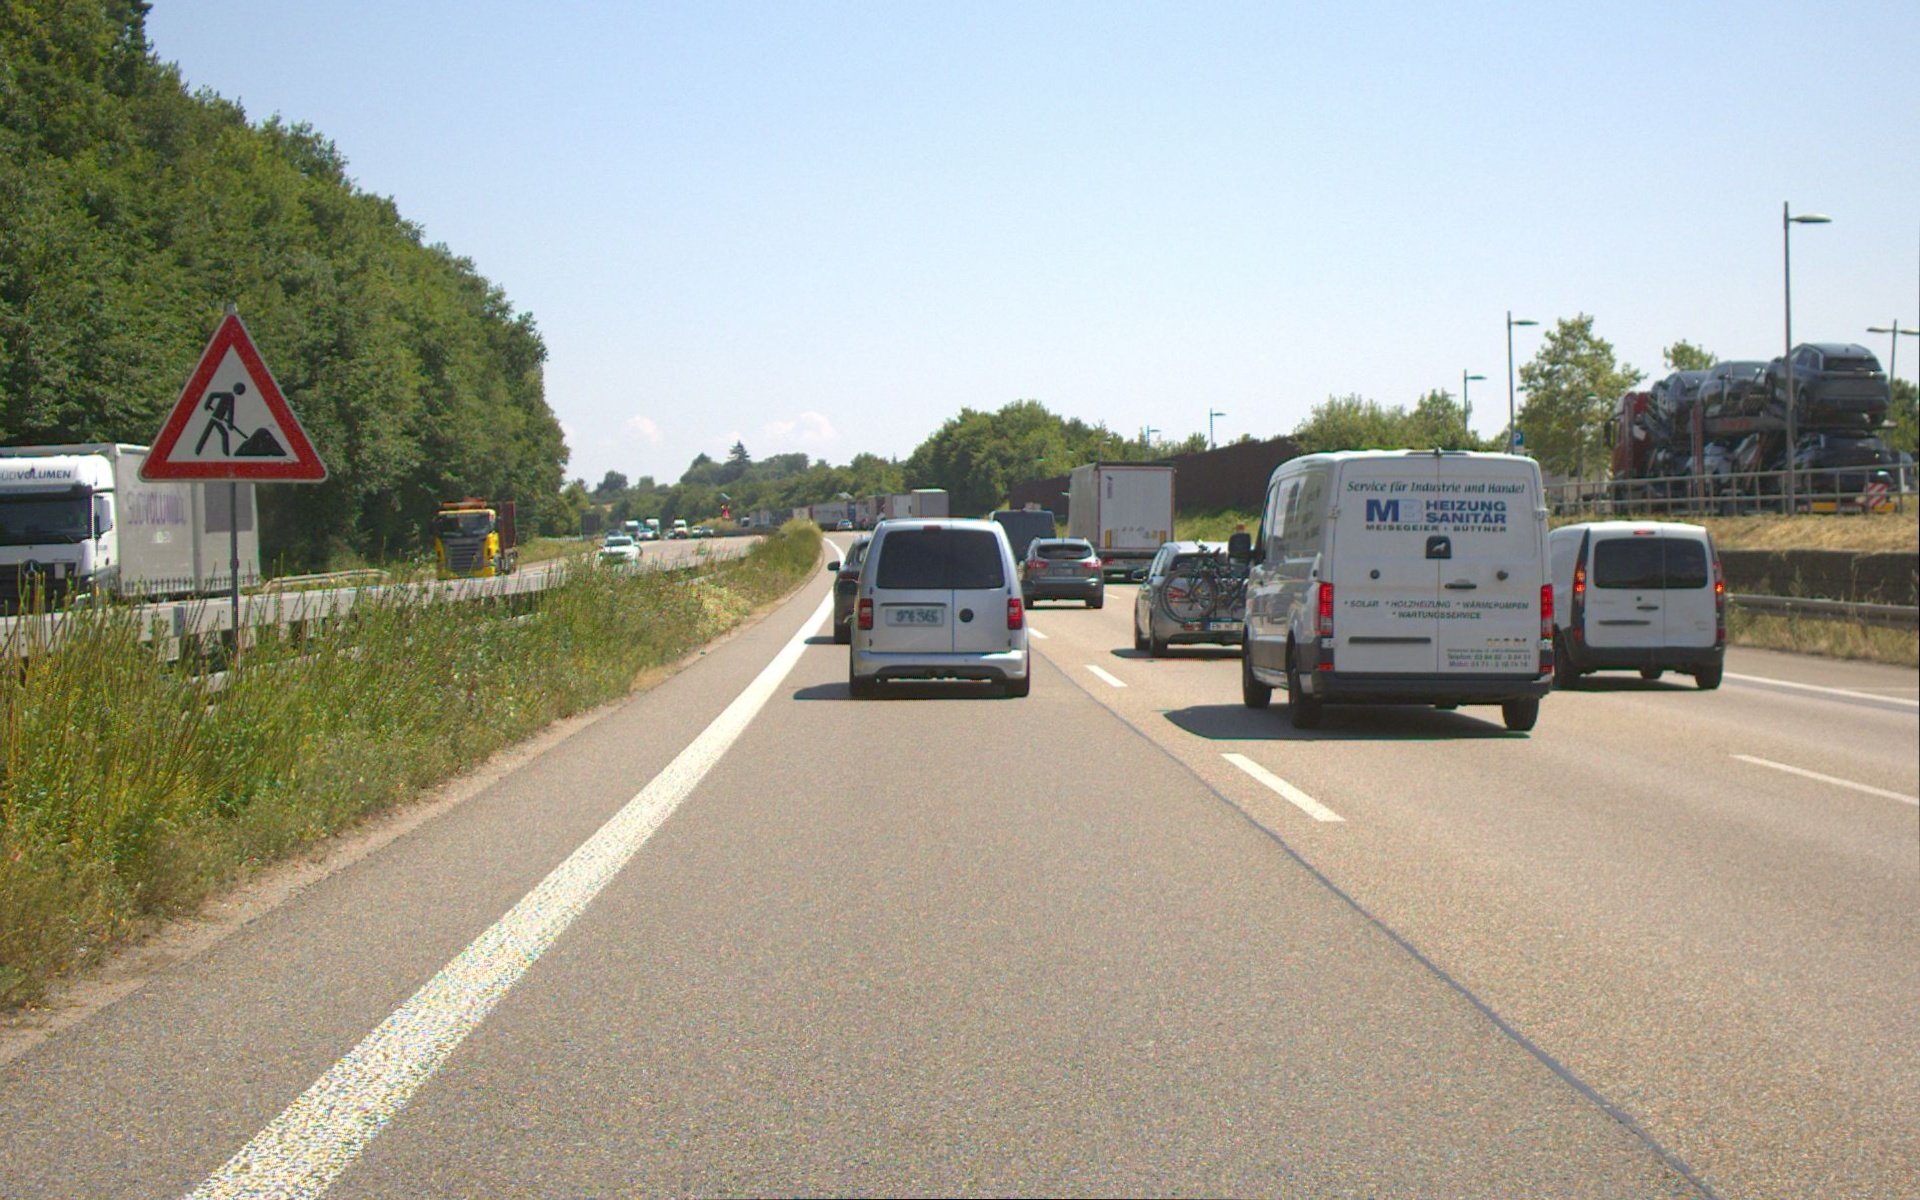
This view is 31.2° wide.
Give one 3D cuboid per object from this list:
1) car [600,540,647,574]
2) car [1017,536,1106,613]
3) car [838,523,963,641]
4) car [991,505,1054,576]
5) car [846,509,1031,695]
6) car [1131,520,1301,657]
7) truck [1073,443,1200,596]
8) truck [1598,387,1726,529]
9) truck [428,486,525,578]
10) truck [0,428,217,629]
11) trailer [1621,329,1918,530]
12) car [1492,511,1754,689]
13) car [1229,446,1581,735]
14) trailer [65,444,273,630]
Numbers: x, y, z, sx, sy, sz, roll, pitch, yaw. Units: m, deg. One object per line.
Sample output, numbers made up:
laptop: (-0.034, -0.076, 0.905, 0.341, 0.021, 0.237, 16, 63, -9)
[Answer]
car: (-17.554, -2.218, 179.510, 1.993, 1.665, 5.612, -3, 1, -1)
car: (2.263, -0.580, 77.533, 1.902, 1.666, 4.088, -1, 1, 0)
car: (-0.868, -0.284, 52.435, 1.745, 1.695, 4.088, -1, 1, 1)
car: (1.717, -1.637, 95.585, 1.674, 1.885, 4.088, -1, 1, 0)
car: (-0.191, -0.001, 35.133, 1.745, 1.758, 4.088, -1, 1, 0)
car: (3.399, -0.171, 46.265, 1.976, 1.727, 4.088, -1, 1, 0)
truck: (6.035, -2.713, 119.815, 3.788, 4.982, 12.518, 1, 1, 0)
truck: (19.590, -3.929, 96.113, 2.602, 3.814, 4.000, 1, 0, -1)
truck: (-20.383, -2.829, 145.576, 2.782, 3.726, 11.159, 1, 1, -2)
truck: (-18.784, -1.509, 74.203, 3.453, 3.980, 11.125, -1, 1, -2)
trailer: (19.795, -3.979, 85.759, 2.605, 4.243, 18.423, 1, 1, -1)
car: (7.263, -0.022, 38.065, 1.950, 1.831, 4.179, -1, 1, -2)
car: (3.702, -0.100, 29.656, 2.181, 2.246, 5.364, 0, 1, -2)
trailer: (-19.147, -1.506, 83.732, 3.453, 4.265, 7.971, 1, 0, -2)
